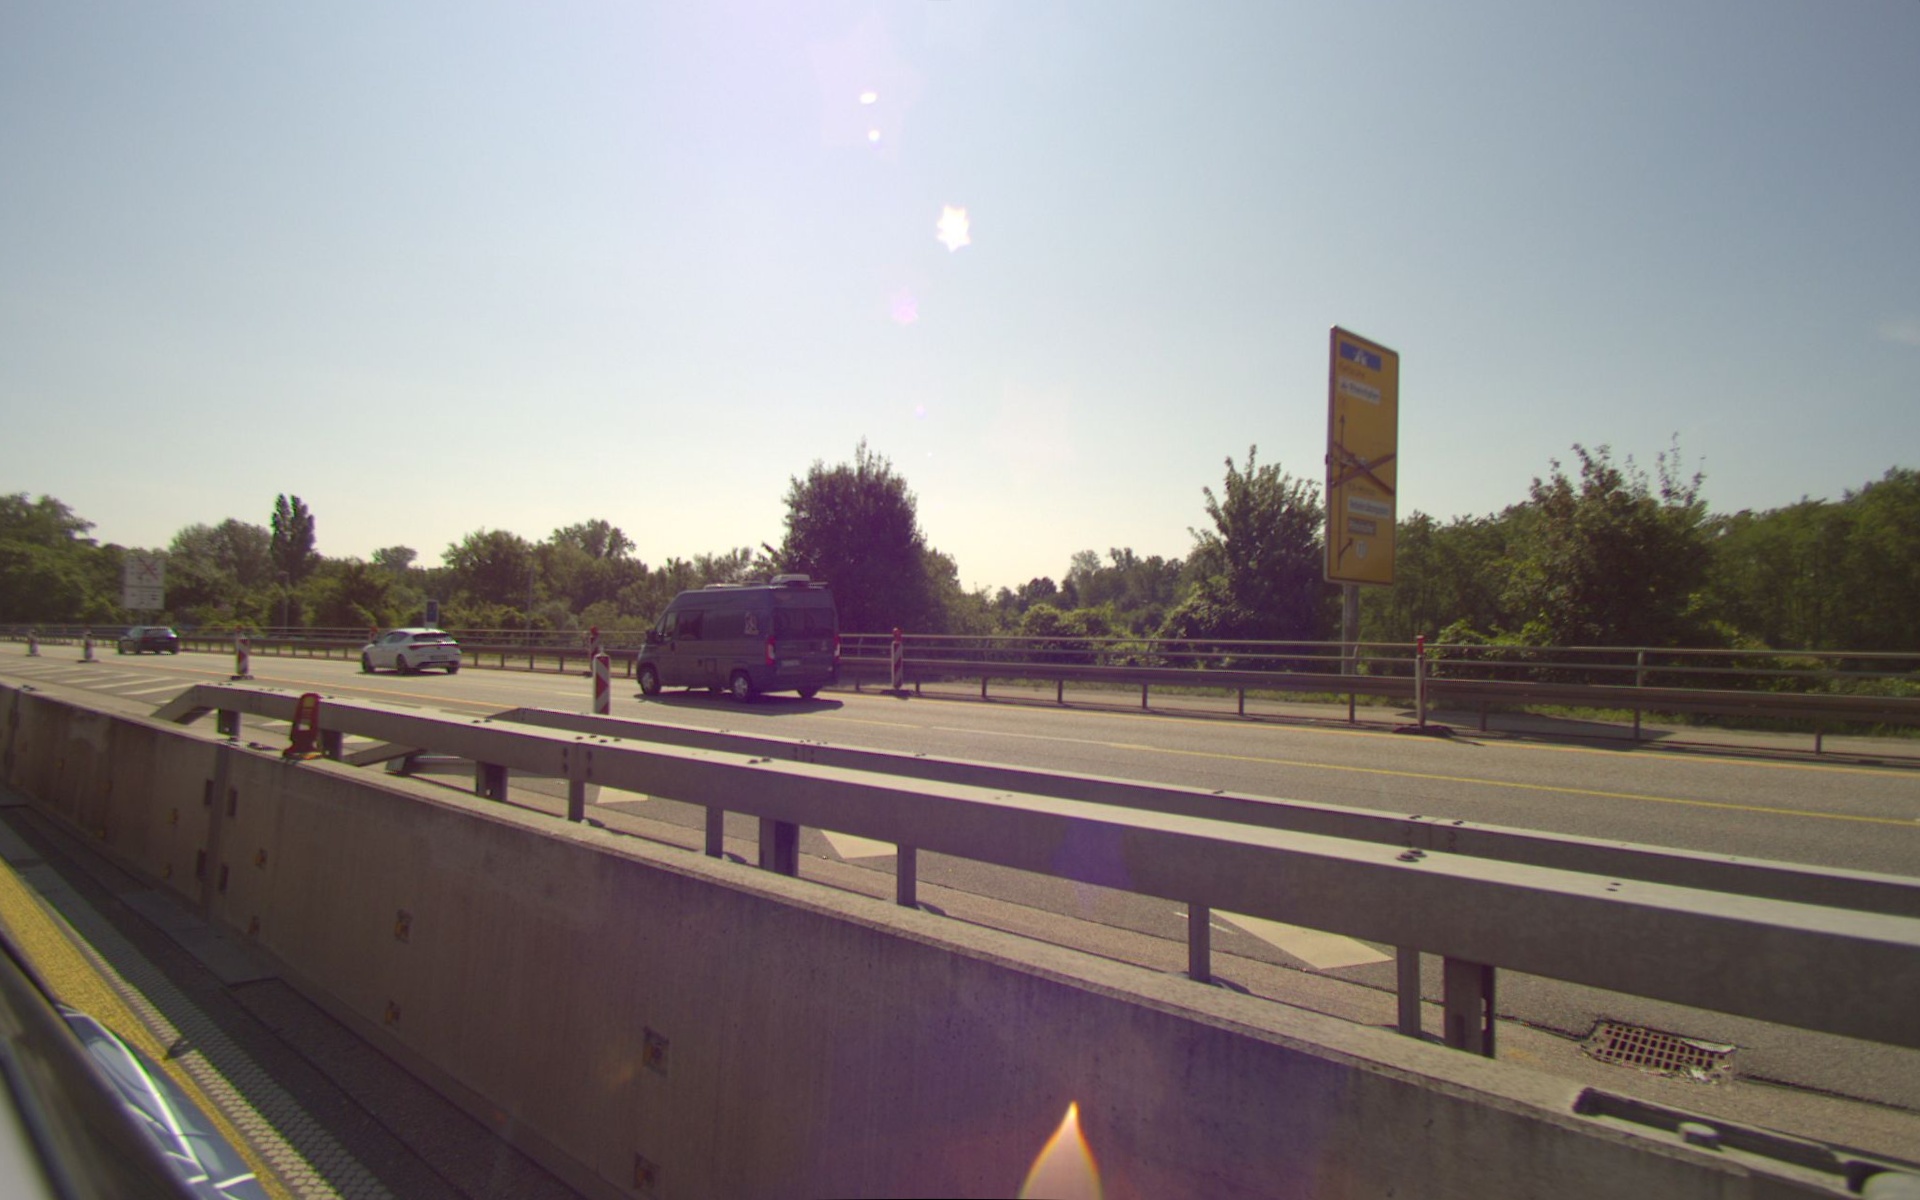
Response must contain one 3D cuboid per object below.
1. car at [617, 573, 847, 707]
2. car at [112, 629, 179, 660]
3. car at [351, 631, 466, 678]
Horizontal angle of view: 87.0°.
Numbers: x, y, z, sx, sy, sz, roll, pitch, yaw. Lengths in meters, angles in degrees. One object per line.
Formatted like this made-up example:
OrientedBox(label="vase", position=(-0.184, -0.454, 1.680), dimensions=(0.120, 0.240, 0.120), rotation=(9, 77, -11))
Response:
OrientedBox(label="car", position=(-5.262, 0.871, 22.896), dimensions=(5.541, 2.681, 2.124), rotation=(-1, -2, 40))
OrientedBox(label="car", position=(-41.831, 2.271, 51.924), dimensions=(4.640, 1.487, 1.720), rotation=(-1, -3, 39))
OrientedBox(label="car", position=(-18.111, 1.742, 33.159), dimensions=(4.514, 1.408, 1.702), rotation=(-1, -2, 38))
